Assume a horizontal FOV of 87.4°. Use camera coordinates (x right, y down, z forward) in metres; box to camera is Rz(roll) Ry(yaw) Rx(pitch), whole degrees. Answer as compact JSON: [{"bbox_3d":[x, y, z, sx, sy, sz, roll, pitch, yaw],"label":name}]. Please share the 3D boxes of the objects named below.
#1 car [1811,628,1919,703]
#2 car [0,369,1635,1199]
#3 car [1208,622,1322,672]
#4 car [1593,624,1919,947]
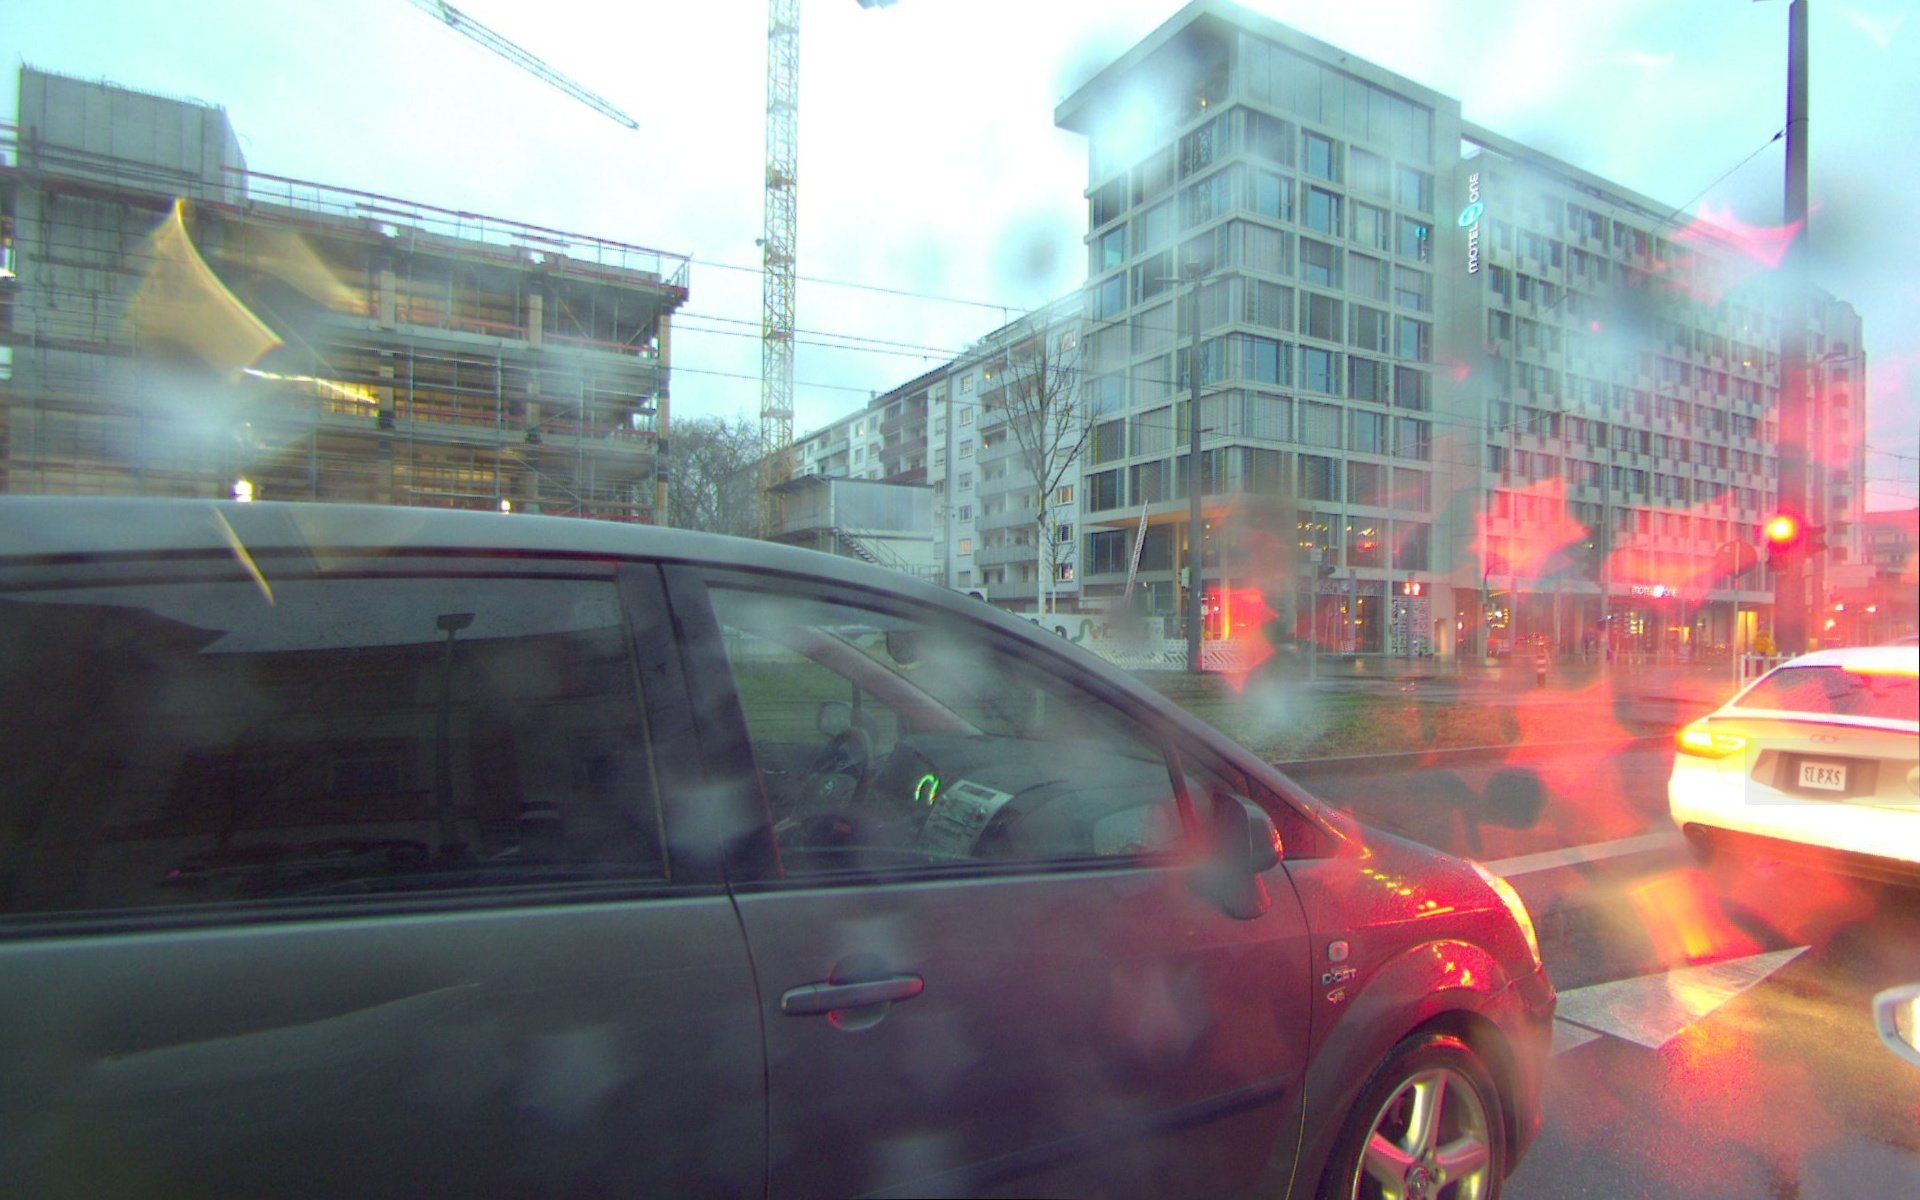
[{"bbox_3d":[23.079,1.599,23.926,1.702,1.644,3.962,2,0,-34],"label":"car"},{"bbox_3d":[-0.548,0.649,2.137,4.089,1.668,1.801,1,0,-32],"label":"car"},{"bbox_3d":[10.443,1.588,34.574,3.625,1.497,1.629,2,0,15],"label":"car"},{"bbox_3d":[6.078,0.926,6.231,4.320,1.475,1.983,1,-1,-32],"label":"car"}]
